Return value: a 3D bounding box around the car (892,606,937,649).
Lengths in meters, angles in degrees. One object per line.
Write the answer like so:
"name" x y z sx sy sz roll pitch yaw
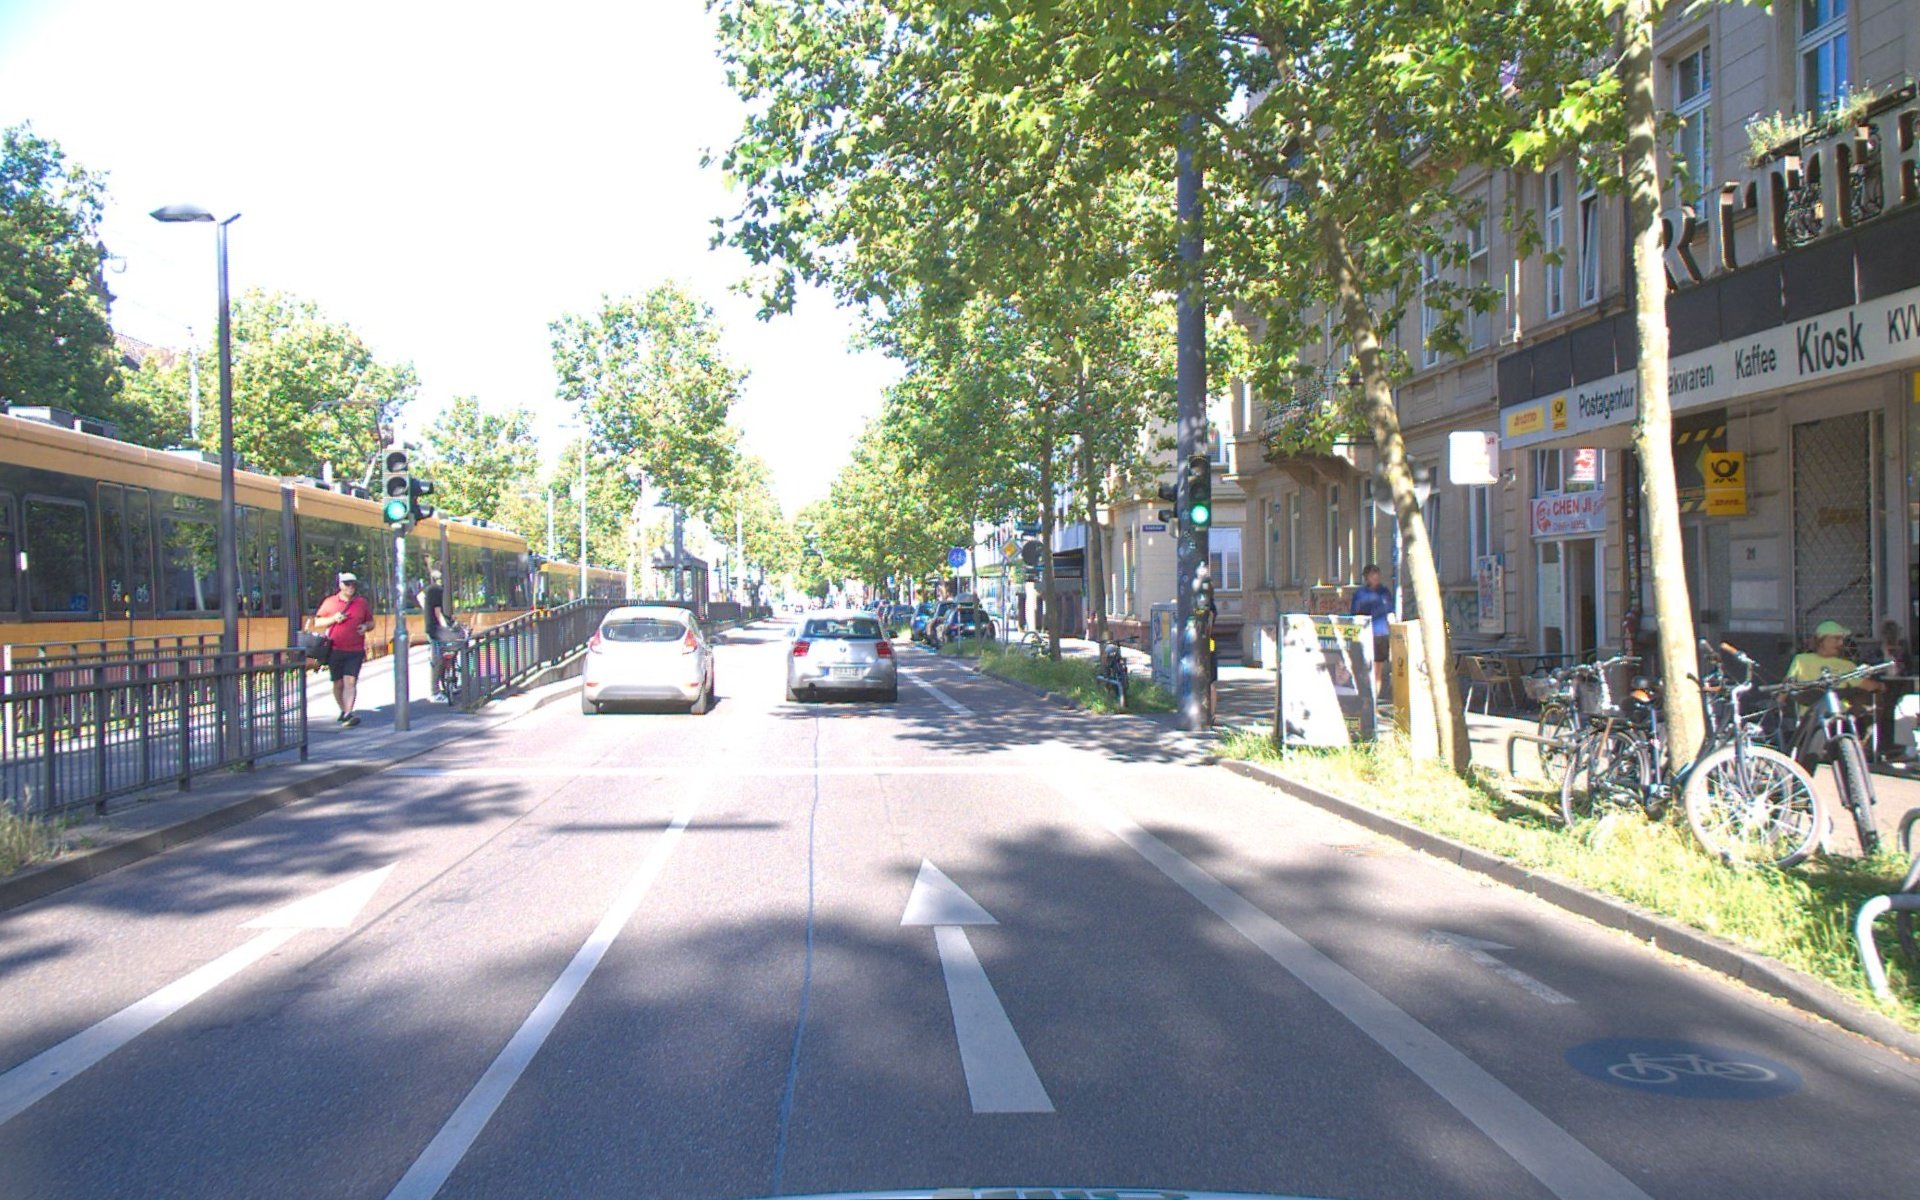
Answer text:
"car" -1.974 1.163 71.352 1.659 1.687 4.035 -1 1 -5

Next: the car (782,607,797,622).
"car" -24.401 2.080 236.689 1.954 2.049 3.996 1 1 -5

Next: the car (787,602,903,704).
"car" -1.929 0.806 27.010 1.728 1.457 3.995 1 1 -6

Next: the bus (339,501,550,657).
"bus" -13.209 -0.452 43.594 2.813 3.504 11.598 -1 0 -5

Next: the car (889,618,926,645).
"car" -3.119 1.840 97.661 1.954 1.535 4.593 1 -1 -5

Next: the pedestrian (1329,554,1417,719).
"pedestrian" 5.273 0.452 21.157 0.864 2.049 0.856 1 0 -2

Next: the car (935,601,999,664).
"car" 0.180 1.059 56.114 1.720 1.999 4.732 -1 1 -5

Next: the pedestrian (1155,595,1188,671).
"pedestrian" 5.237 0.807 40.955 0.553 1.858 0.957 1 0 -8

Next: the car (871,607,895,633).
"car" -6.000 1.549 128.486 1.691 1.913 3.996 1 0 -5

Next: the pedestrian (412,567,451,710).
"pedestrian" -7.267 0.519 22.756 0.443 1.936 0.583 -1 -1 -12

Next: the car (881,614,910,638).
"car" -4.426 1.769 113.041 1.771 1.547 3.996 1 0 -5

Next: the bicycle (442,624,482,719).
"bicycle" -6.861 0.959 22.818 0.322 1.235 1.824 -1 0 -11

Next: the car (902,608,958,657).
"car" -1.178 1.190 62.571 1.763 1.730 4.732 -1 0 -5

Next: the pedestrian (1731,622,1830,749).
"pedestrian" 7.982 0.815 16.095 0.647 1.181 0.664 1 0 -41

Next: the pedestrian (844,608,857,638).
"pedestrian" -7.644 1.588 115.792 0.821 2.049 0.648 1 0 2

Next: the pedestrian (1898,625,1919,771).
"pedestrian" 8.142 0.807 13.461 0.635 1.181 0.608 1 0 -16

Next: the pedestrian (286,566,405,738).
"pedestrian" -7.214 0.594 19.482 1.052 1.949 1.125 -1 -1 -7

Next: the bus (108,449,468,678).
"bus" -12.191 -0.539 31.676 2.813 3.504 12.202 -1 0 -5

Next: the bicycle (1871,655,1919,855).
"bicycle" 5.200 0.815 8.070 0.434 1.010 1.686 1 1 -6

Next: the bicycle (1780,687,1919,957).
"bicycle" 4.383 0.878 6.706 1.976 1.010 0.443 1 0 -8

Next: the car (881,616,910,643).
"car" -4.027 1.826 102.748 1.637 1.578 3.996 1 1 -5

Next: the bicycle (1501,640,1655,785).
"bicycle" 4.871 0.857 13.133 0.434 1.010 1.686 1 1 -6

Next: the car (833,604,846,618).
"car" -19.069 1.741 261.253 1.954 2.049 3.996 -1 0 -5

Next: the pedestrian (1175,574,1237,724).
"pedestrian" 3.025 0.592 20.409 0.629 1.802 0.869 1 0 1

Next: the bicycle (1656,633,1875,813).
"bicycle" 5.131 0.747 10.646 0.434 1.010 1.686 1 1 -6

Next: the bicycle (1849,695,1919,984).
"bicycle" 4.406 0.884 6.231 1.965 1.010 0.443 1 0 -8

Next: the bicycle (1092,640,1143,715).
"bicycle" 2.282 1.109 24.127 0.419 0.987 1.749 1 1 -5

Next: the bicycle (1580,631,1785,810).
"bicycle" 4.612 0.736 10.674 0.434 1.010 1.686 1 1 -6

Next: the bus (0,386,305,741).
"bus" -11.115 -0.321 19.108 2.813 3.504 13.203 -1 0 -5

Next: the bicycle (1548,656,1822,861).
"bicycle" 4.175 0.871 9.665 0.436 1.010 1.679 1 1 -19

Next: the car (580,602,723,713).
"car" -4.325 0.764 23.635 1.614 1.386 3.756 1 1 -5

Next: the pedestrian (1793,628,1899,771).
"pedestrian" 7.603 0.836 14.188 0.763 1.181 0.464 1 0 -30

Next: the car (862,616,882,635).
"car" -7.723 2.208 144.584 1.667 1.561 3.713 1 1 -5
